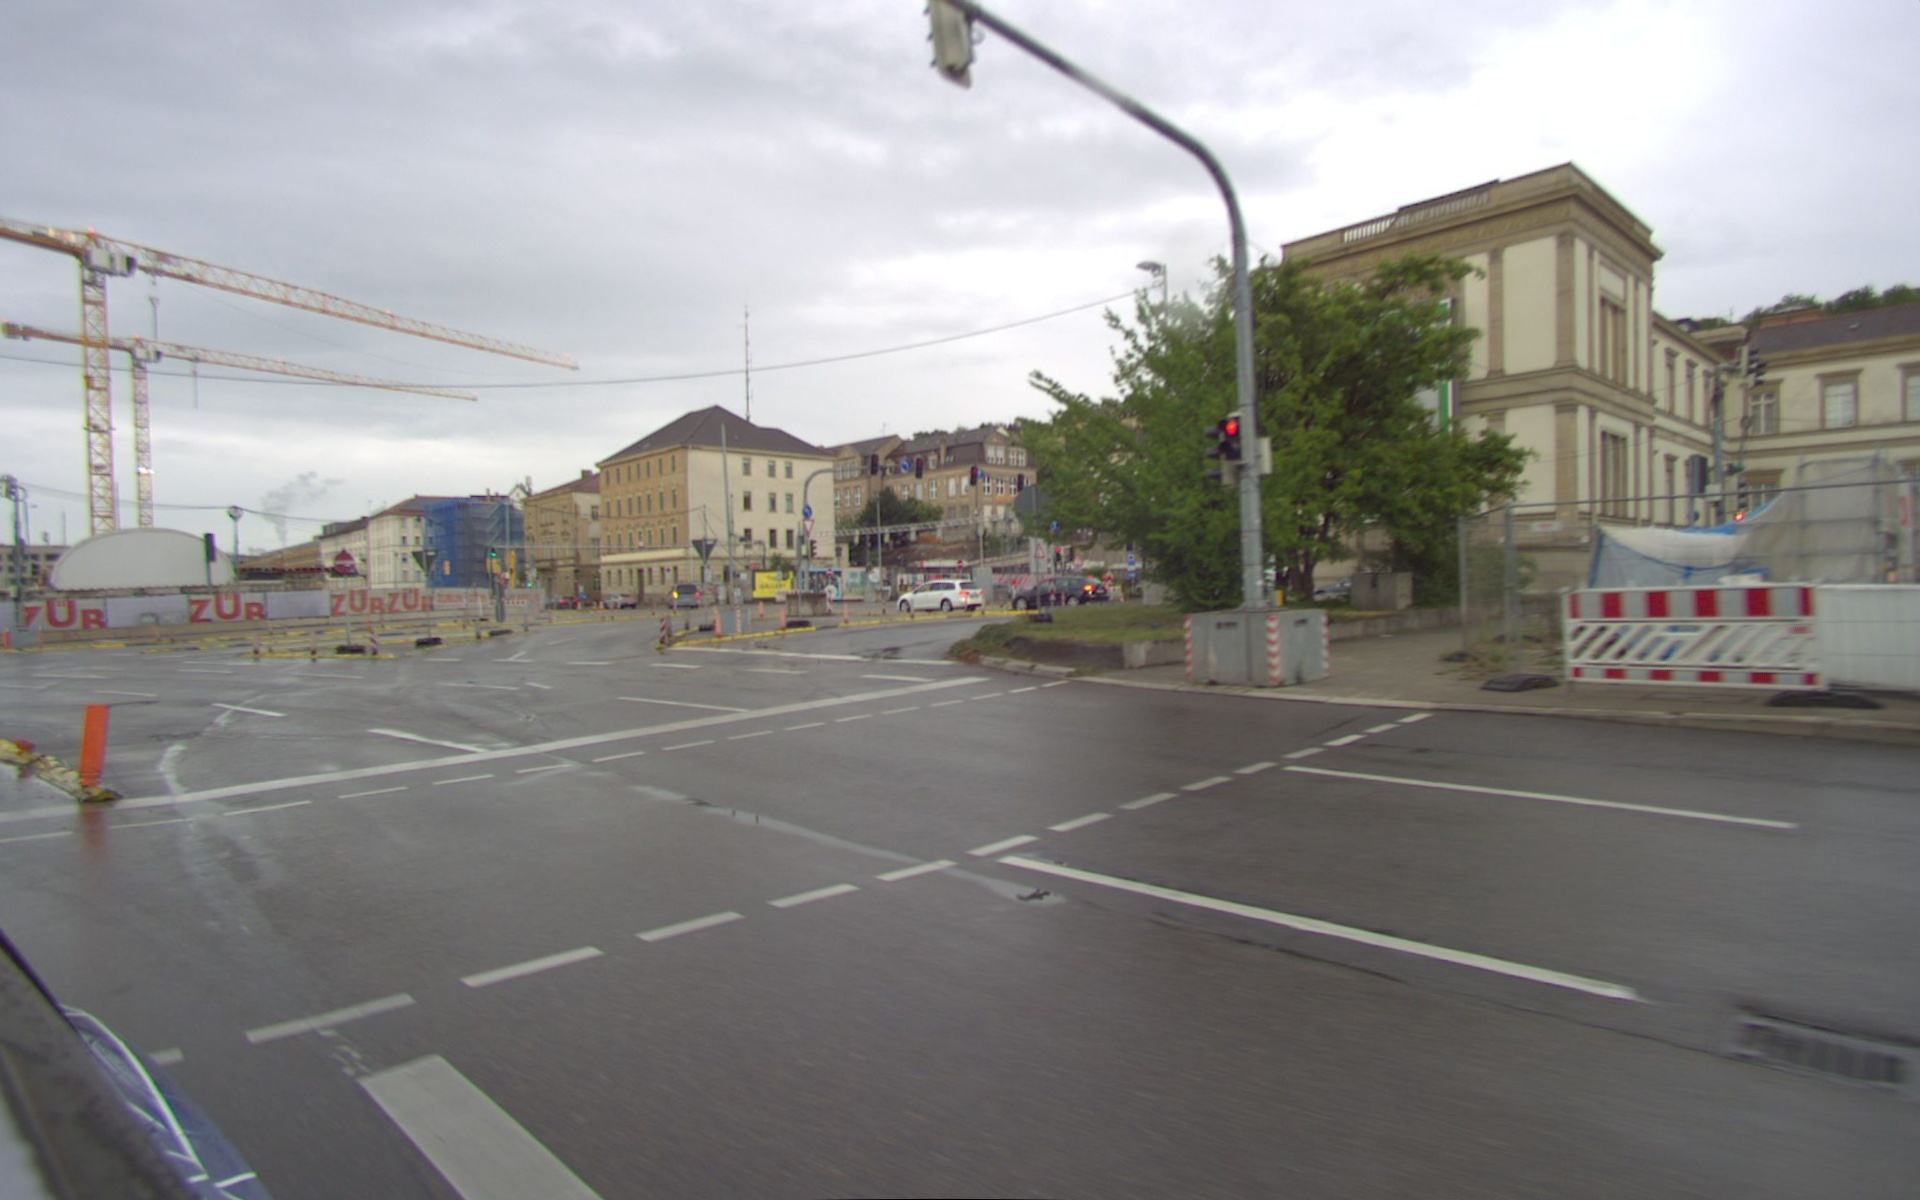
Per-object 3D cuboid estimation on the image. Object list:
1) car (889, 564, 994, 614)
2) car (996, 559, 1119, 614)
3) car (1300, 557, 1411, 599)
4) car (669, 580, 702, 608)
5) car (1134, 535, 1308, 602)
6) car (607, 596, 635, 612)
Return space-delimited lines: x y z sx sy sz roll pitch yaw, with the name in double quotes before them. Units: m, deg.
"car" -0.878 -0.513 45.556 4.644 2.028 1.971 1 4 45
"car" 3.894 -0.547 40.946 4.692 2.028 1.971 1 4 45
"car" 17.456 -0.982 44.783 1.795 1.713 4.201 -5 4 -41
"car" -20.272 -0.486 74.854 1.967 1.852 4.695 -2 2 -12
"car" 9.462 -1.127 36.871 5.664 2.189 2.346 0 3 32
"car" -33.153 0.376 98.868 1.557 1.357 3.817 -4 4 -34
